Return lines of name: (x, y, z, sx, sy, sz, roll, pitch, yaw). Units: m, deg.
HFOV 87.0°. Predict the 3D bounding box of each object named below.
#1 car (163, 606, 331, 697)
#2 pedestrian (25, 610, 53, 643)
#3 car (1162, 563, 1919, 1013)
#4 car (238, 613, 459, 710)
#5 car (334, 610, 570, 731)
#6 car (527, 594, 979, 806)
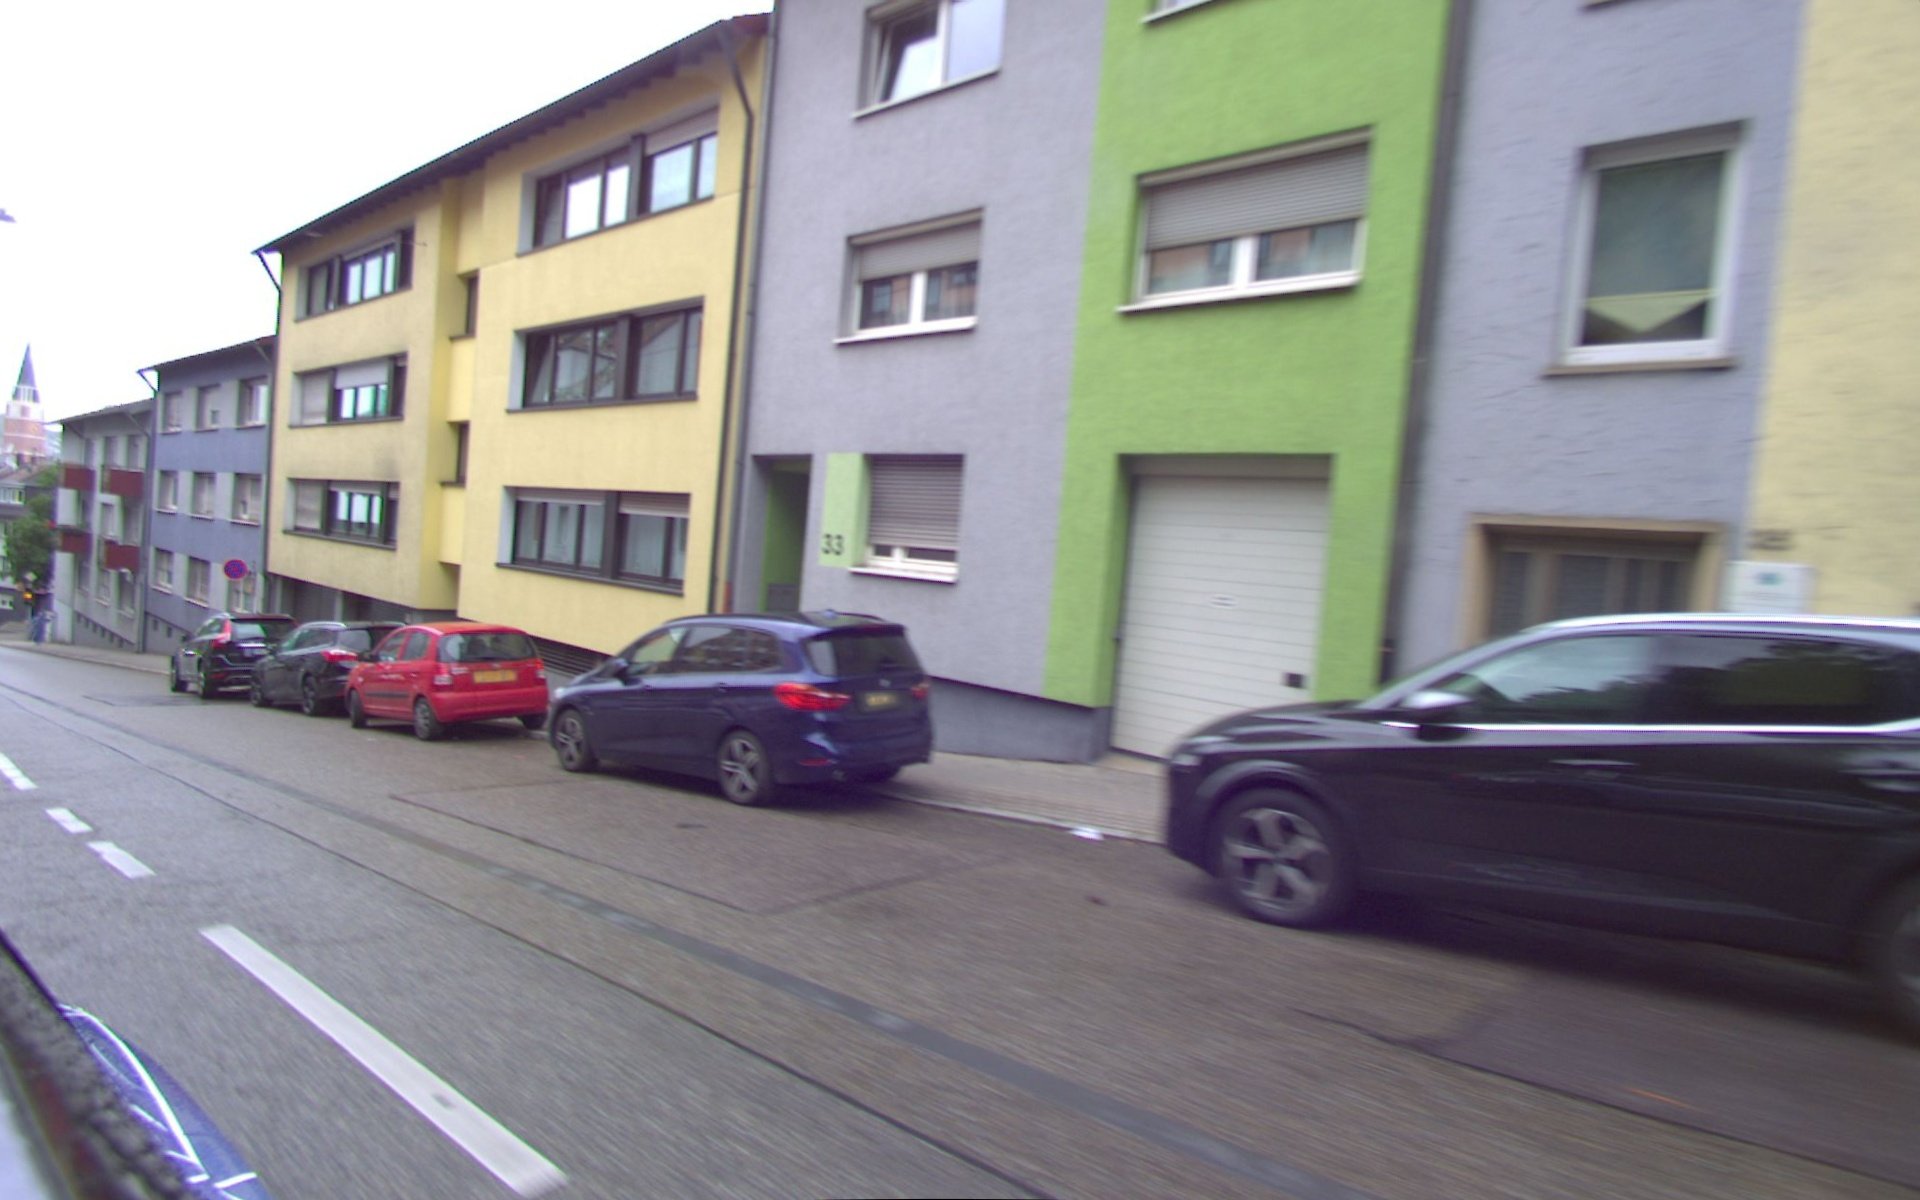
car: (-14.824, 1.013, 20.949, 4.442, 1.662, 1.971, -1, -2, 43)
pedestrian: (-44.704, 1.268, 49.112, 1.086, 1.553, 0.860, -3, -2, 39)
car: (3.334, 0.704, 4.871, 4.301, 1.597, 1.834, -1, -2, 40)
car: (-10.694, 0.999, 17.587, 4.344, 1.483, 1.973, -1, -2, 40)
car: (-7.197, 0.915, 14.233, 3.488, 1.483, 1.711, -1, -2, 40)
car: (-2.163, 0.816, 9.874, 4.468, 1.597, 1.973, -1, -2, 40)
